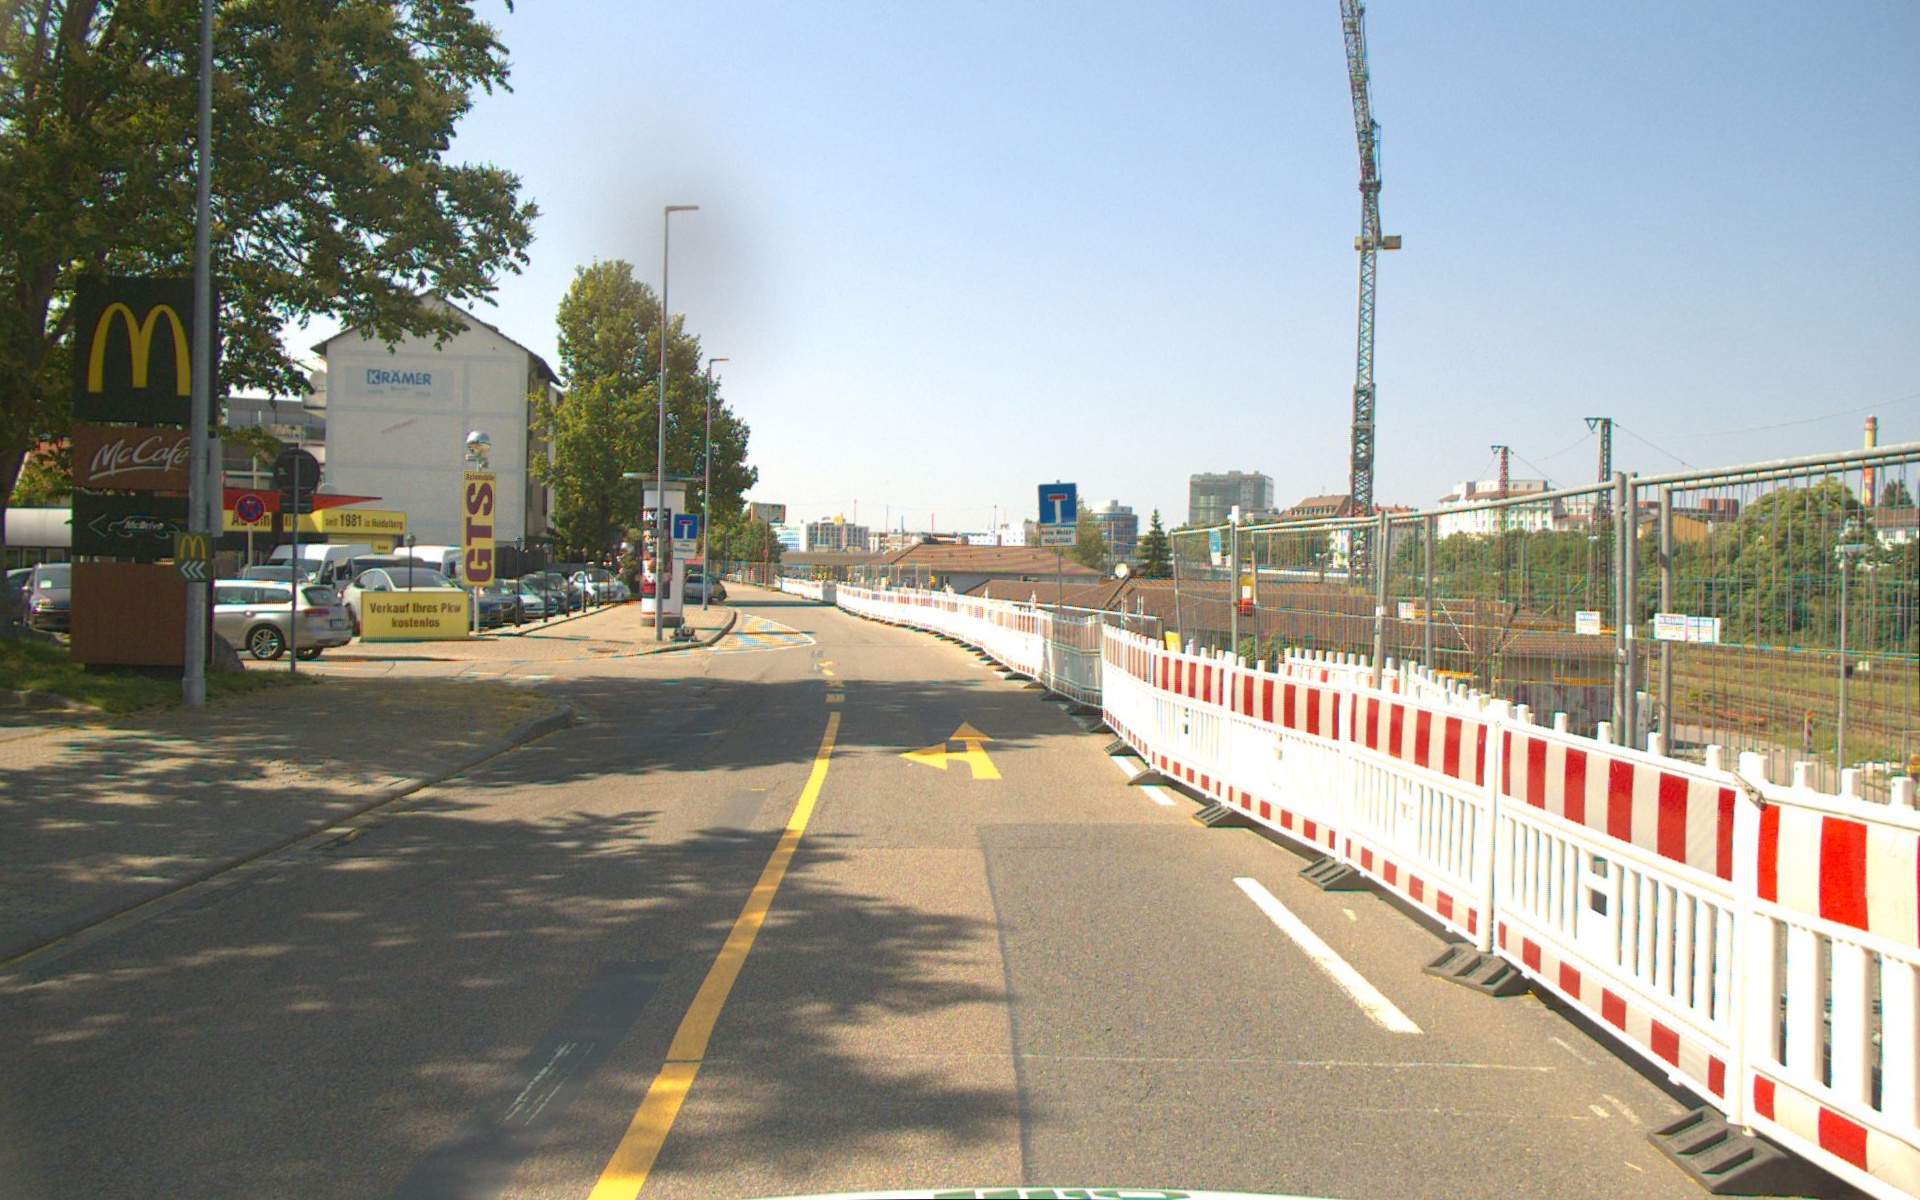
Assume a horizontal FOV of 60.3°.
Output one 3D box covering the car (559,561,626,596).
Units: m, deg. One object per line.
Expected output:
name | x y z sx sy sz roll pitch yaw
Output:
car | -22.462 -1.291 101.138 3.858 1.993 1.752 2 0 -15

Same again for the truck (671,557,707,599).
truck | -17.888 -1.402 109.208 2.197 2.694 5.669 1 0 -9

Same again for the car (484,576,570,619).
car | -16.136 -0.118 61.480 1.655 1.498 3.946 -3 2 -38

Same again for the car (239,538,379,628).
car | -21.372 -0.526 54.633 2.230 2.806 6.152 0 0 0

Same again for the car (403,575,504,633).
car | -14.308 0.087 46.586 1.818 1.498 3.958 -3 2 -31

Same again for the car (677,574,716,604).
car | -14.333 -0.640 90.118 1.832 1.524 4.028 0 2 -5

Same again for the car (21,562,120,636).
car | -21.515 -0.054 39.927 1.788 1.685 4.267 -1 1 -32

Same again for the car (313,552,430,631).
car | -18.555 -0.228 52.357 2.201 2.391 4.820 0 -1 -3

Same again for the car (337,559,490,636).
car | -13.782 -0.044 41.562 1.965 1.736 4.592 -1 -1 -42

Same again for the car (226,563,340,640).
car | -16.305 0.047 39.725 2.021 1.737 4.271 0 -1 -30

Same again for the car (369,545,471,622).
car | -19.071 -0.541 58.683 2.203 2.472 5.710 4 -1 -7

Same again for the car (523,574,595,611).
car | -17.148 -0.330 70.626 1.654 1.498 3.950 -3 2 -35

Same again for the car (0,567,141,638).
car | -25.257 0.051 45.093 2.127 1.874 4.858 1 1 44

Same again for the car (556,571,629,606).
car | -16.542 -0.516 74.339 1.762 1.498 3.950 -2 2 -35

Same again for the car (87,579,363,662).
car | -13.943 0.368 31.531 4.496 1.519 1.683 0 0 1

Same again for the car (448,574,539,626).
car | -14.740 -0.018 52.165 1.817 1.498 3.959 -2 2 -30

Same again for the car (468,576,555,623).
car | -15.603 -0.031 57.463 1.764 1.498 3.954 -3 1 -33
